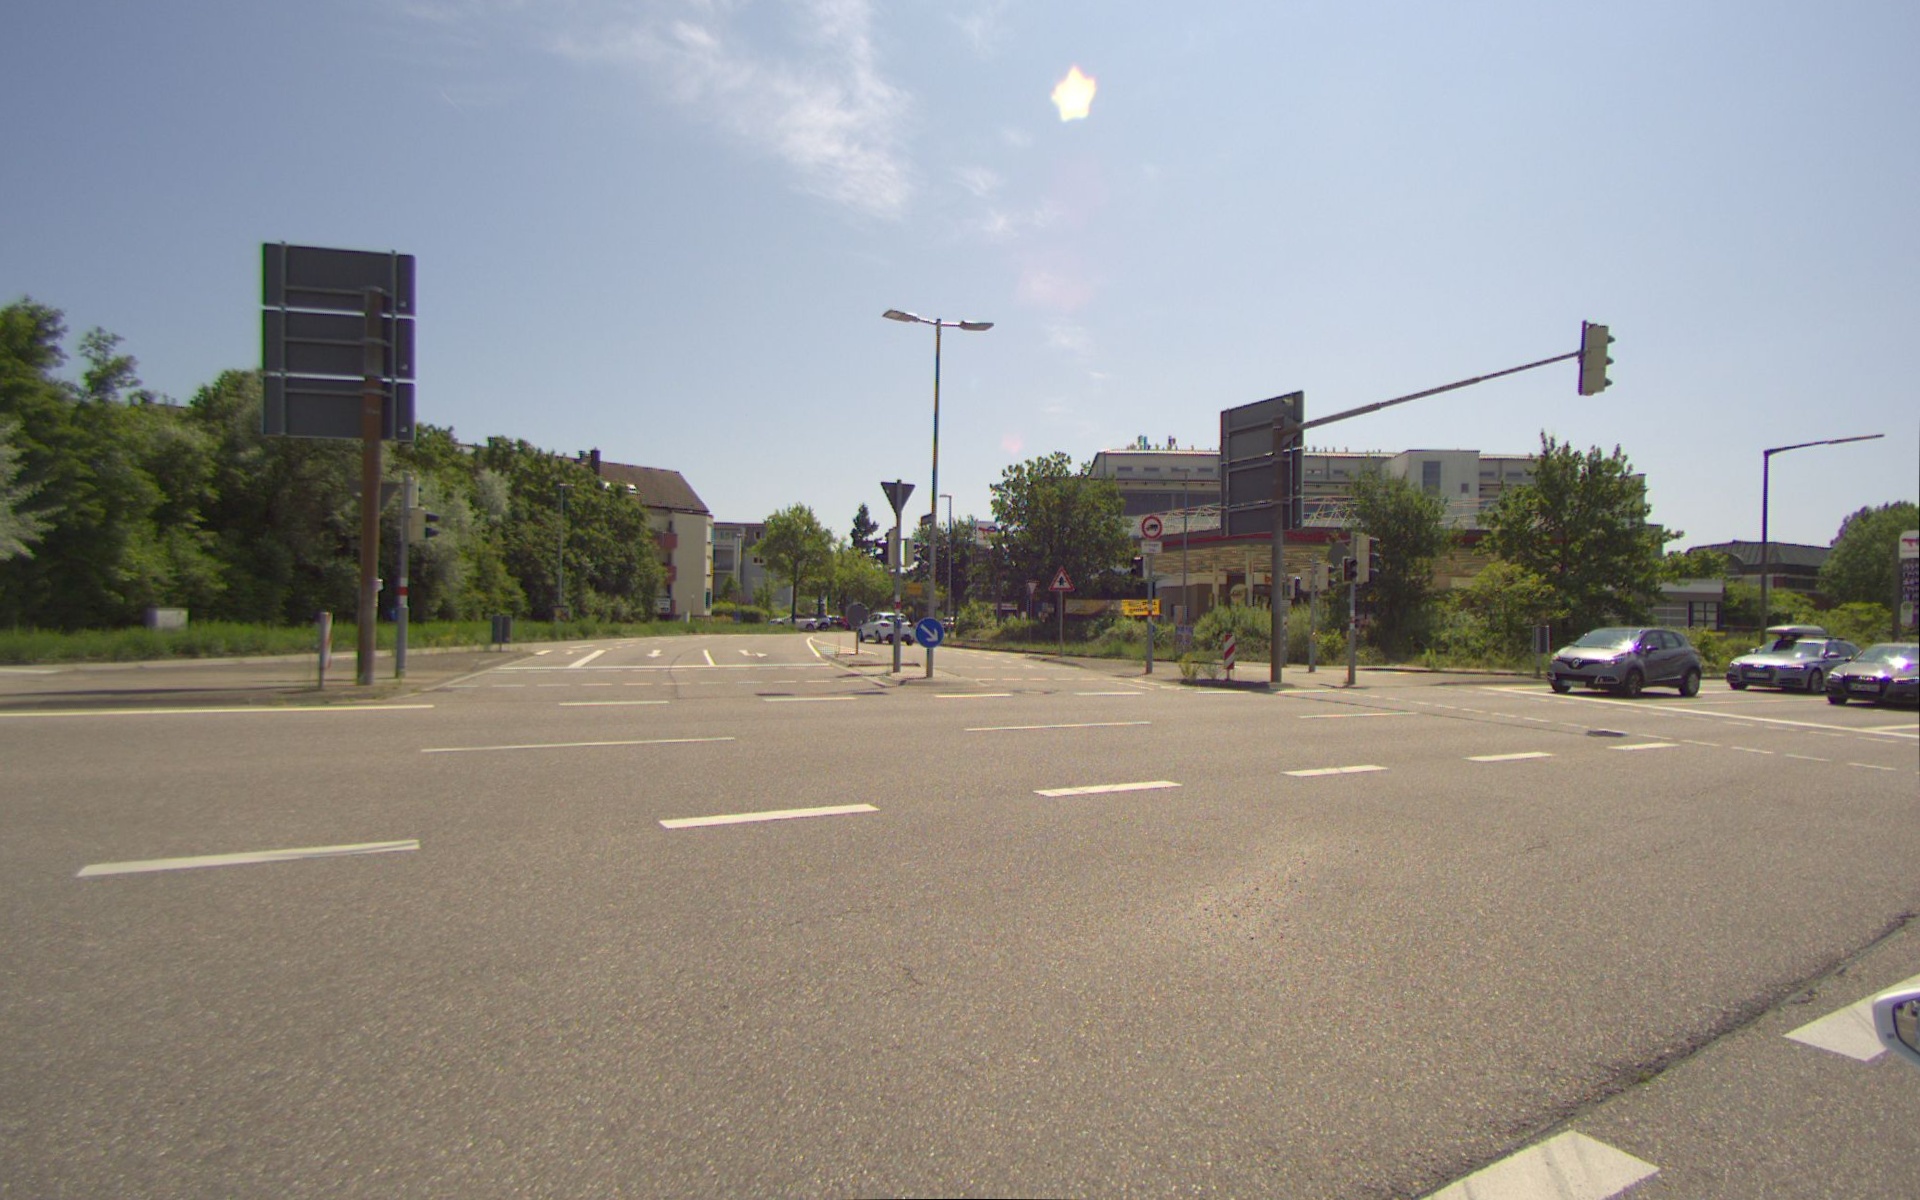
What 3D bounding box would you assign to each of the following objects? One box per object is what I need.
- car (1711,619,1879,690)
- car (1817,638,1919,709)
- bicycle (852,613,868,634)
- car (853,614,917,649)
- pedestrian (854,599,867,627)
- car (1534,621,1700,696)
[{"bbox_3d":[22.766,1.461,27.339,4.963,1.773,1.955,2,-1,-30],"label":"car"},{"bbox_3d":[21.072,1.603,22.528,3.957,1.403,1.589,2,0,-30],"label":"car"},{"bbox_3d":[-9.822,2.285,98.622,0.876,2.040,3.196,1,-1,7],"label":"bicycle"},{"bbox_3d":[-3.540,1.444,46.775,1.803,1.468,3.806,3,-2,-23],"label":"car"},{"bbox_3d":[-9.754,1.274,98.907,0.864,2.751,1.518,2,0,7],"label":"pedestrian"},{"bbox_3d":[15.336,1.340,23.404,3.953,1.560,1.650,2,0,-30],"label":"car"}]
